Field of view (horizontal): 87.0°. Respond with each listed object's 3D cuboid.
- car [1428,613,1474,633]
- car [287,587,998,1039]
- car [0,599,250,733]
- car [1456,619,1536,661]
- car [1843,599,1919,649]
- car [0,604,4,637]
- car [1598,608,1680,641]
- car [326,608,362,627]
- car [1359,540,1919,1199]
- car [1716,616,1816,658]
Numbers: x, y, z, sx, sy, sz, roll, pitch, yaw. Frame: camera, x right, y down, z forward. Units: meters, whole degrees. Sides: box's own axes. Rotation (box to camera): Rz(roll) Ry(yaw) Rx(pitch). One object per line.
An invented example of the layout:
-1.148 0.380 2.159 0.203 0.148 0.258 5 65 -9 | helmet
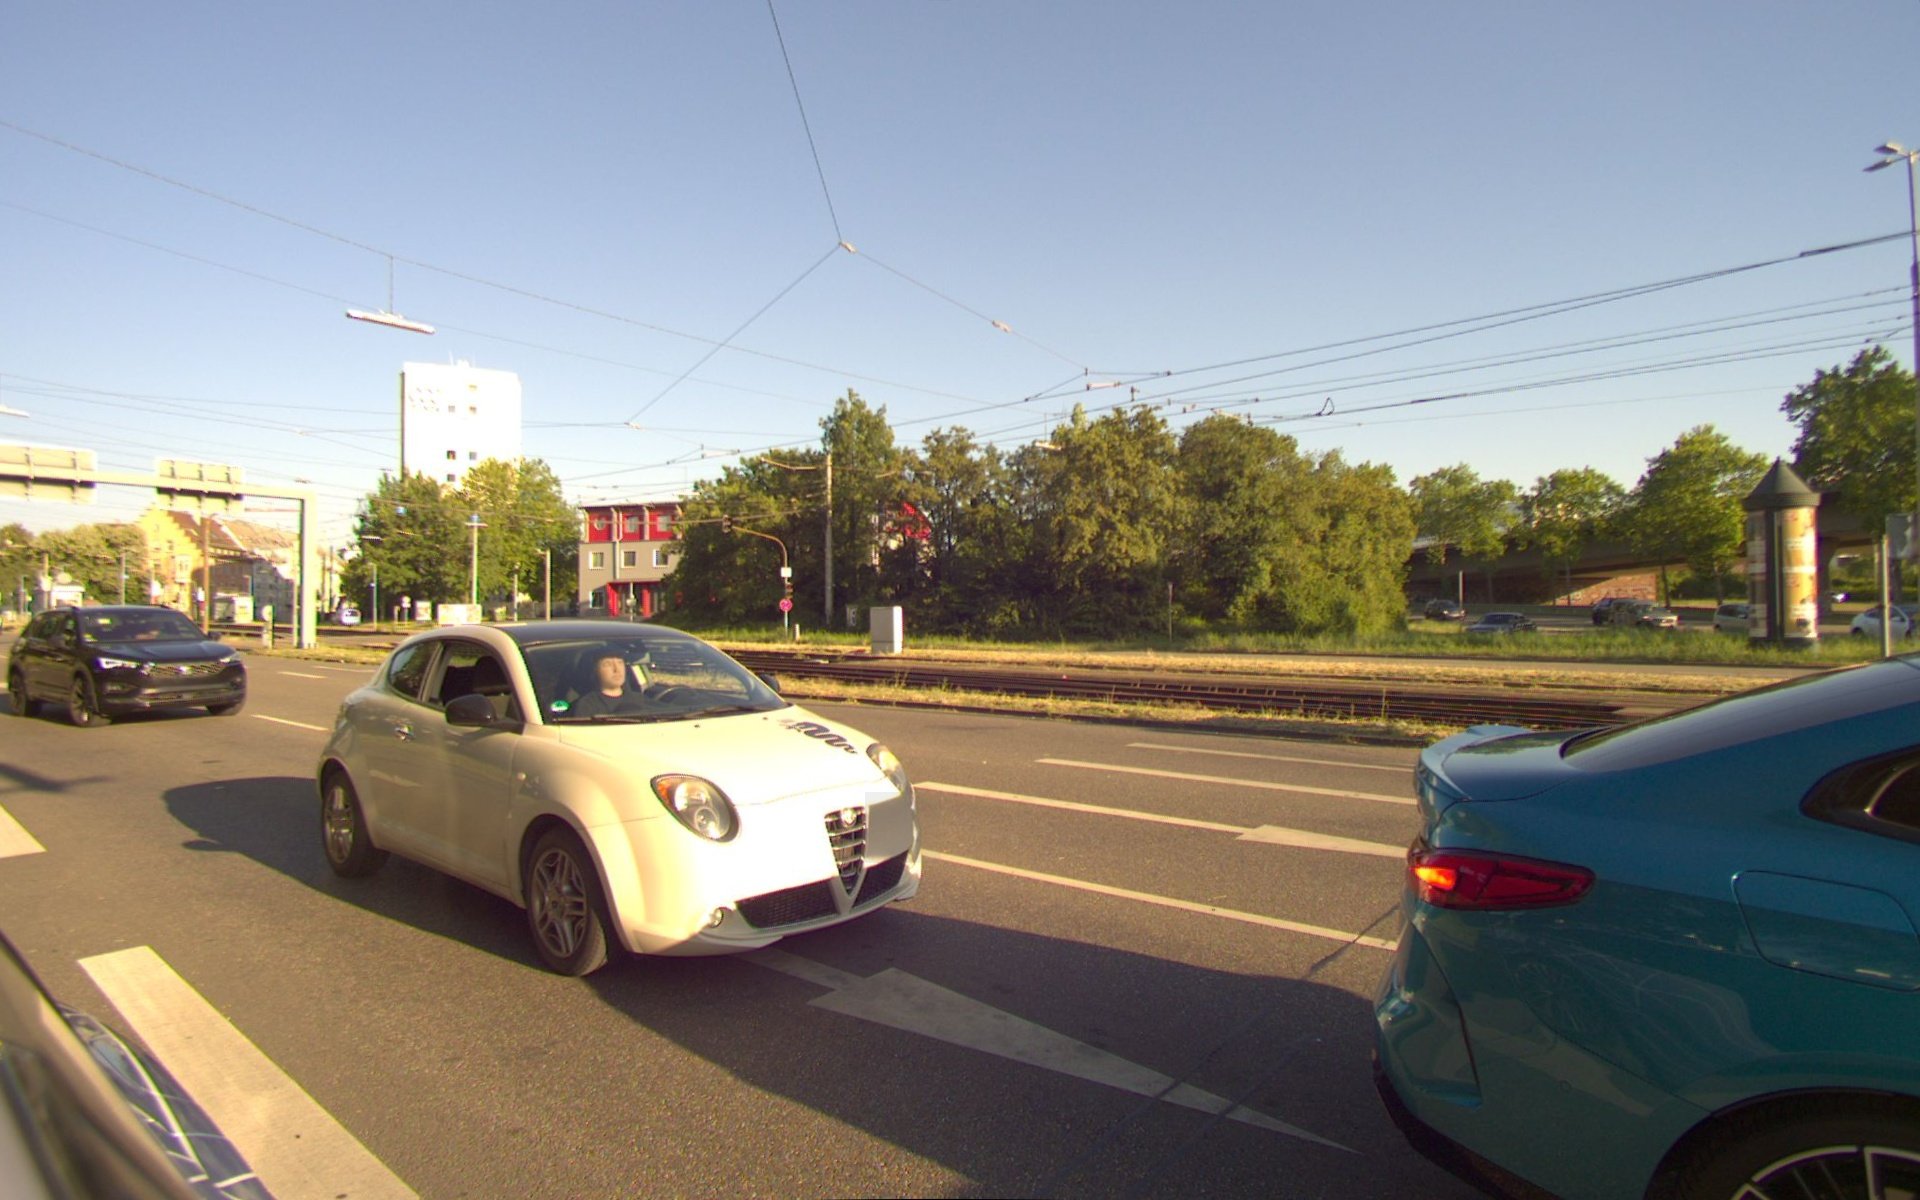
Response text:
38.942 1.825 80.375 1.699 1.537 3.935 -1 -1 -1 | car
-1.896 0.773 5.366 3.996 1.517 1.719 -2 -2 40 | car
-12.463 0.882 14.894 4.611 1.692 1.799 -1 -1 34 | car
23.857 1.727 44.957 4.685 1.691 1.755 0 -1 -44 | car
32.388 0.784 34.155 1.676 1.586 4.750 -1 -1 11 | car
-51.230 1.099 52.436 4.271 1.674 1.882 -1 0 39 | car
36.499 1.287 54.533 1.672 1.691 4.407 -1 -1 5 | car
-60.563 1.779 99.479 4.259 1.801 1.912 -2 -2 43 | car
2.963 0.636 1.367 4.201 1.477 1.697 -2 -2 38 | car
34.707 1.556 43.707 1.677 1.643 4.268 -1 -1 14 | car
